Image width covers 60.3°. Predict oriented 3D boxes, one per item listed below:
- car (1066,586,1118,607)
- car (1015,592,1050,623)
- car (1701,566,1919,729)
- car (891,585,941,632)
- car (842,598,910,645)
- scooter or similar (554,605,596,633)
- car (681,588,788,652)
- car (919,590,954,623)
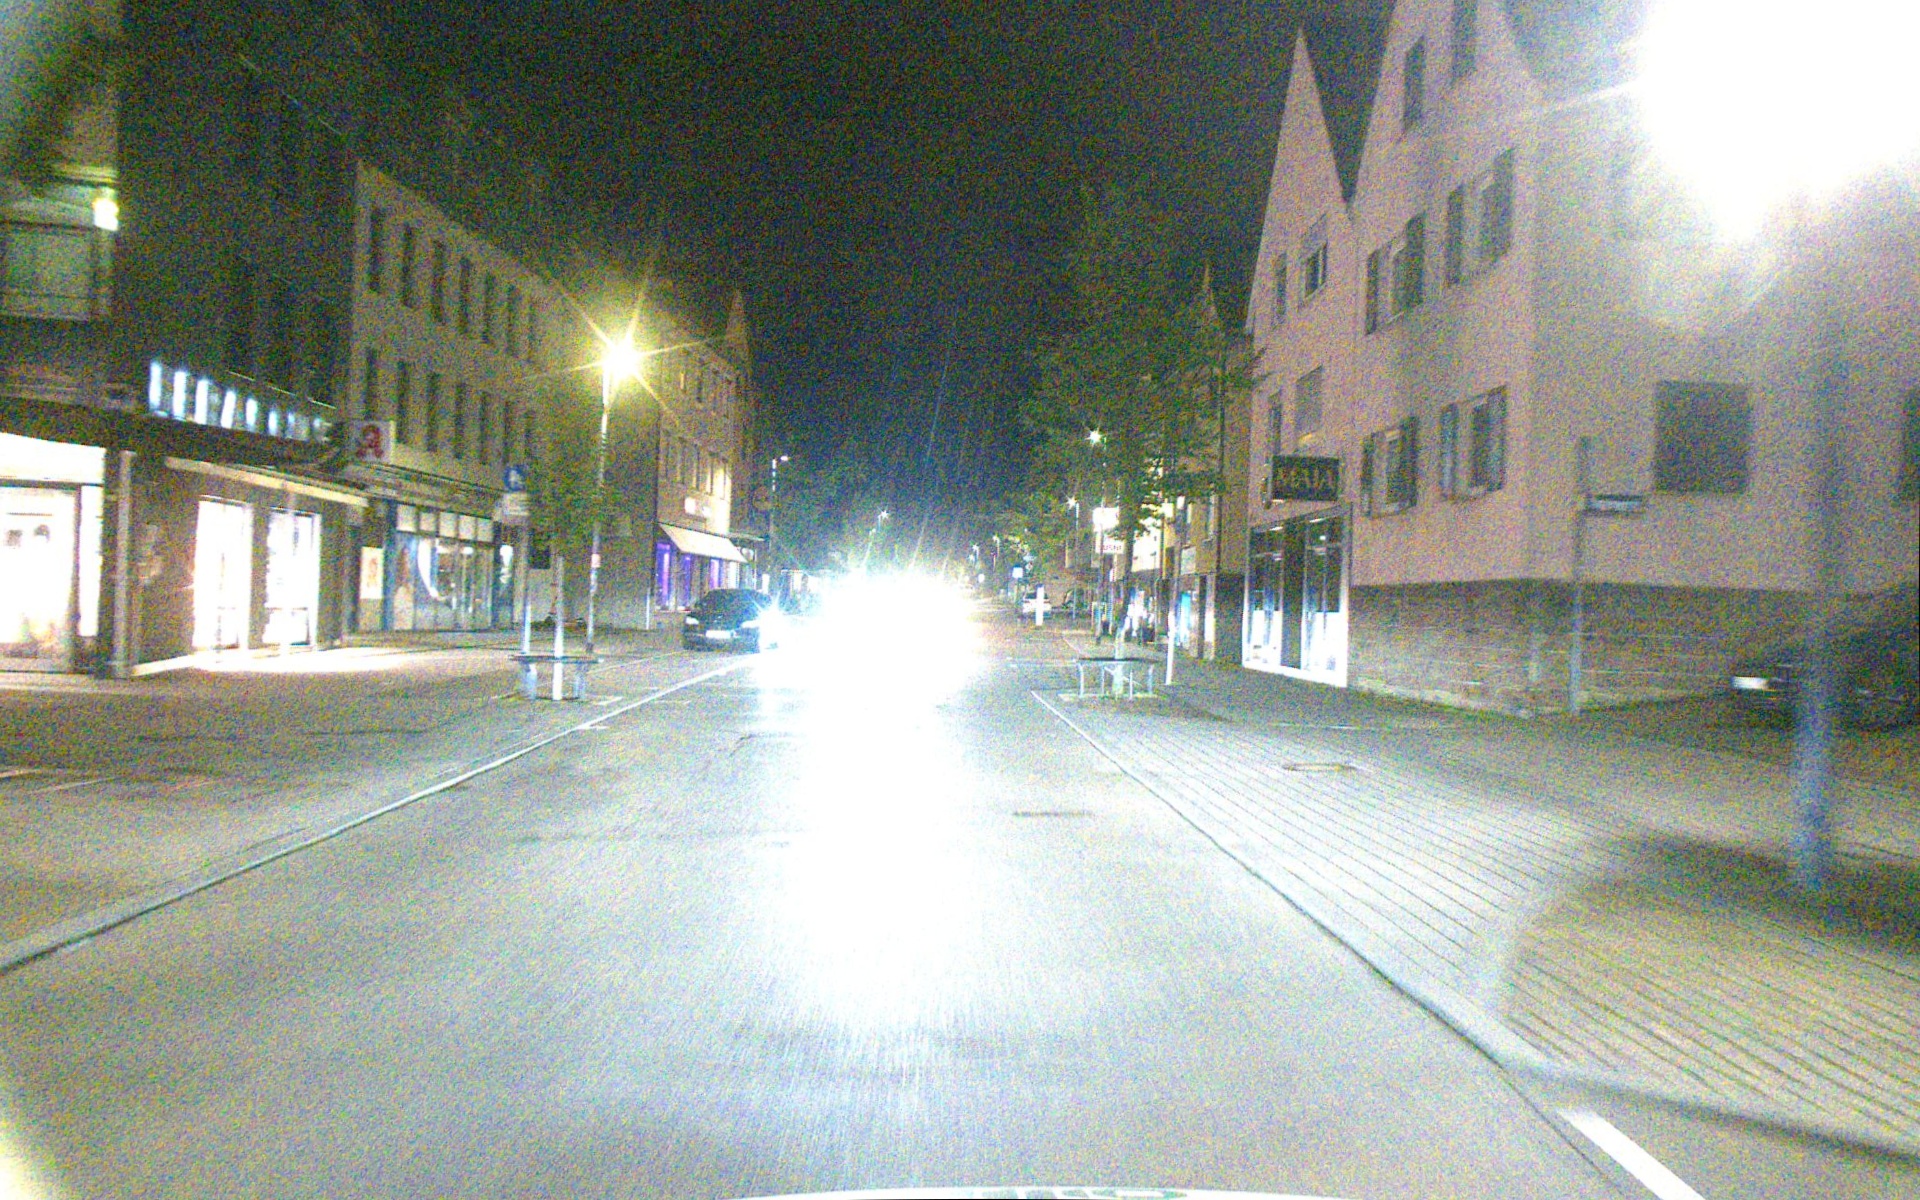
[{"bbox_3d":[10.097,-0.266,126.677,3.903,1.441,2.001,1,-2,5],"label":"car"},{"bbox_3d":[4.081,0.396,93.426,1.739,1.681,4.364,1,0,0],"label":"car"},{"bbox_3d":[9.826,0.408,16.656,3.908,1.502,1.750,-2,-1,-4],"label":"car"},{"bbox_3d":[-1.665,0.305,63.650,1.739,1.681,4.364,1,0,1],"label":"car"},{"bbox_3d":[-2.392,0.601,47.950,1.688,1.268,4.237,1,0,0],"label":"car"},{"bbox_3d":[-11.041,0.543,47.440,1.073,0.795,0.524,1,0,-4],"label":"scooter or similar"},{"bbox_3d":[-5.341,0.443,39.636,1.875,1.394,4.457,1,0,1],"label":"car"},{"bbox_3d":[-1.227,0.307,87.625,1.739,1.681,4.364,1,0,1],"label":"car"}]
